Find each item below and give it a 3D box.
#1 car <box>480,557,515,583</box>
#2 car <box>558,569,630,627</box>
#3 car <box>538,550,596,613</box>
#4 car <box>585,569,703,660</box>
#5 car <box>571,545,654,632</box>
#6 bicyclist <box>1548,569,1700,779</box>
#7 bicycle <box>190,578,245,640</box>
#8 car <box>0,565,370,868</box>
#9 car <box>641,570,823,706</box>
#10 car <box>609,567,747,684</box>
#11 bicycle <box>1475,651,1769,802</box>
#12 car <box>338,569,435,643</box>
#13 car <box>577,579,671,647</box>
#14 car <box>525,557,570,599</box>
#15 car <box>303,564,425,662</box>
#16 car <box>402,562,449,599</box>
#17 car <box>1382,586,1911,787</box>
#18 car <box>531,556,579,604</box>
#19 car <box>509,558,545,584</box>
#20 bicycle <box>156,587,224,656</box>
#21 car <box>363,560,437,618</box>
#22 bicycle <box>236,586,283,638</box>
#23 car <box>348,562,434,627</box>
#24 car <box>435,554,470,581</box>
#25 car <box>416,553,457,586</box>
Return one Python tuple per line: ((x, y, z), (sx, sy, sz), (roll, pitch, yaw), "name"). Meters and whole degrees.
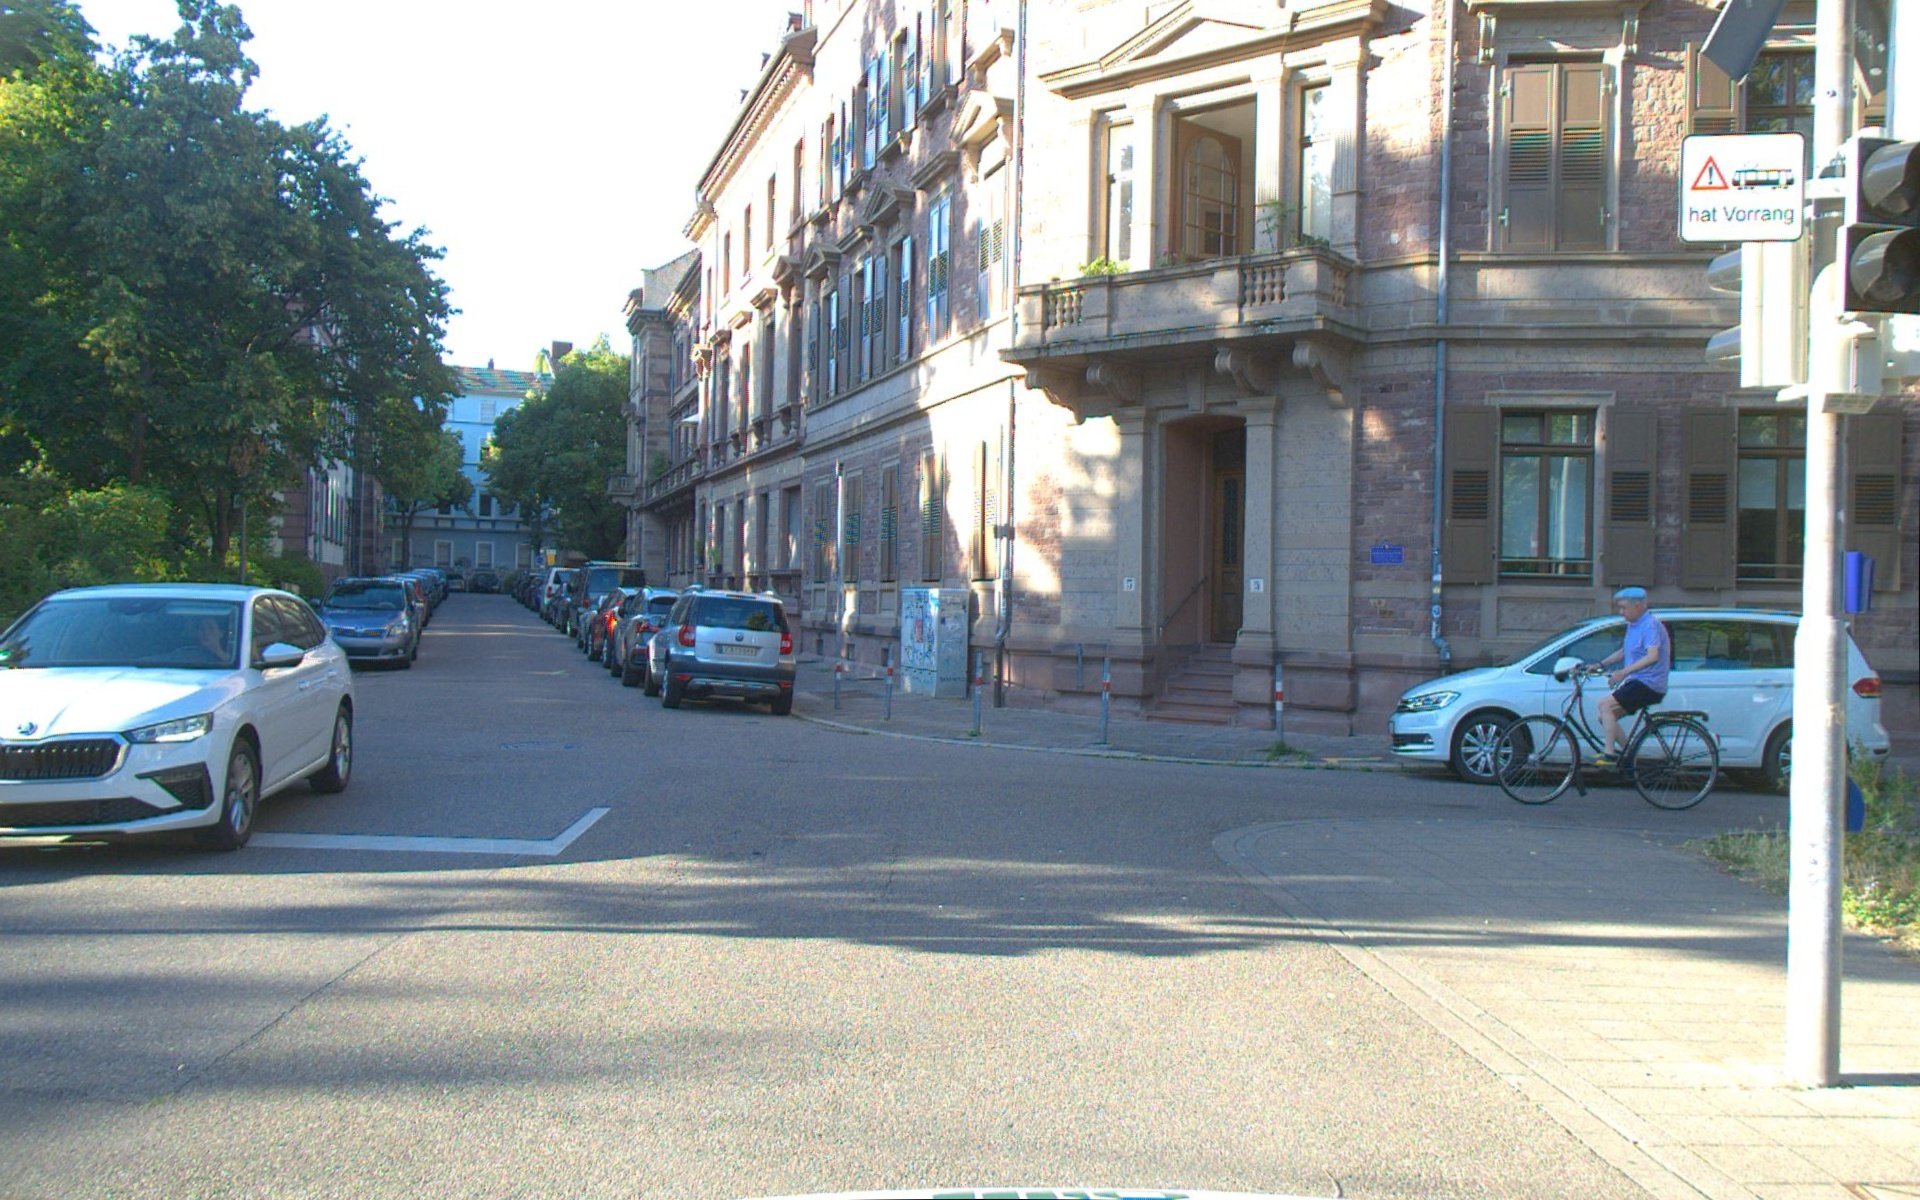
((-33.288, -2.138, 118.921), (1.966, 1.713, 3.973), (2, -1, -22), "car")
((-11.072, -0.093, 49.912), (1.769, 1.550, 3.937), (4, 0, -16), "car")
((-14.403, -0.699, 60.474), (1.769, 2.108, 3.937), (4, 0, -16), "car")
((-6.546, 0.254, 33.974), (1.770, 1.642, 3.934), (4, 0, -19), "car")
((-9.368, -0.333, 44.388), (1.769, 2.108, 3.937), (4, 0, -16), "car")
((5.351, 0.578, 13.361), (0.854, 1.616, 0.700), (2, 1, -5), "bicyclist")
((-14.136, 0.152, 31.534), (0.587, 1.120, 2.616), (1, 1, -16), "bicycle")
((-4.933, 0.549, 10.286), (1.671, 1.482, 4.054), (1, 1, -10), "car")
((-3.400, 0.488, 23.991), (1.885, 1.685, 4.167), (4, 0, -17), "car")
((-4.984, 0.375, 28.768), (1.797, 1.753, 4.524), (4, 0, -16), "car")
((5.323, 1.009, 13.364), (2.075, 1.072, 0.700), (3, 1, -5), "bicycle")
((-13.143, 0.101, 38.095), (1.797, 1.472, 3.914), (4, 0, -16), "car")
((-7.912, 0.266, 38.716), (1.769, 1.368, 3.937), (4, 0, -16), "car")
((-19.094, -1.027, 76.393), (1.769, 1.757, 3.937), (4, 0, -16), "car")
((-11.354, 0.196, 31.742), (1.797, 1.643, 4.273), (4, 0, -16), "car")
((-24.118, -0.900, 74.722), (1.797, 1.526, 3.914), (4, 0, -16), "car")
((6.427, 0.796, 15.973), (4.387, 1.678, 1.876), (1, -2, 9), "car")
((-17.553, -0.883, 71.585), (1.769, 1.870, 3.937), (4, 0, -16), "car")
((-31.380, -2.067, 119.876), (1.966, 1.713, 3.973), (2, -1, -22), "car")
((-13.432, 0.357, 28.922), (0.587, 1.120, 2.617), (1, 1, -14), "bicycle")
((-16.712, -0.347, 49.461), (1.797, 1.526, 3.914), (4, 0, -16), "car")
((-15.974, 0.257, 37.758), (0.587, 1.120, 2.617), (1, 1, -15), "bicycle")
((-14.863, -0.176, 43.364), (1.797, 1.503, 3.914), (4, 0, -16), "car")
((-36.030, -2.267, 117.339), (1.966, 1.713, 3.973), (2, -1, -22), "car")
((-27.018, -1.565, 85.471), (1.797, 1.526, 3.914), (4, 0, -16), "car")
